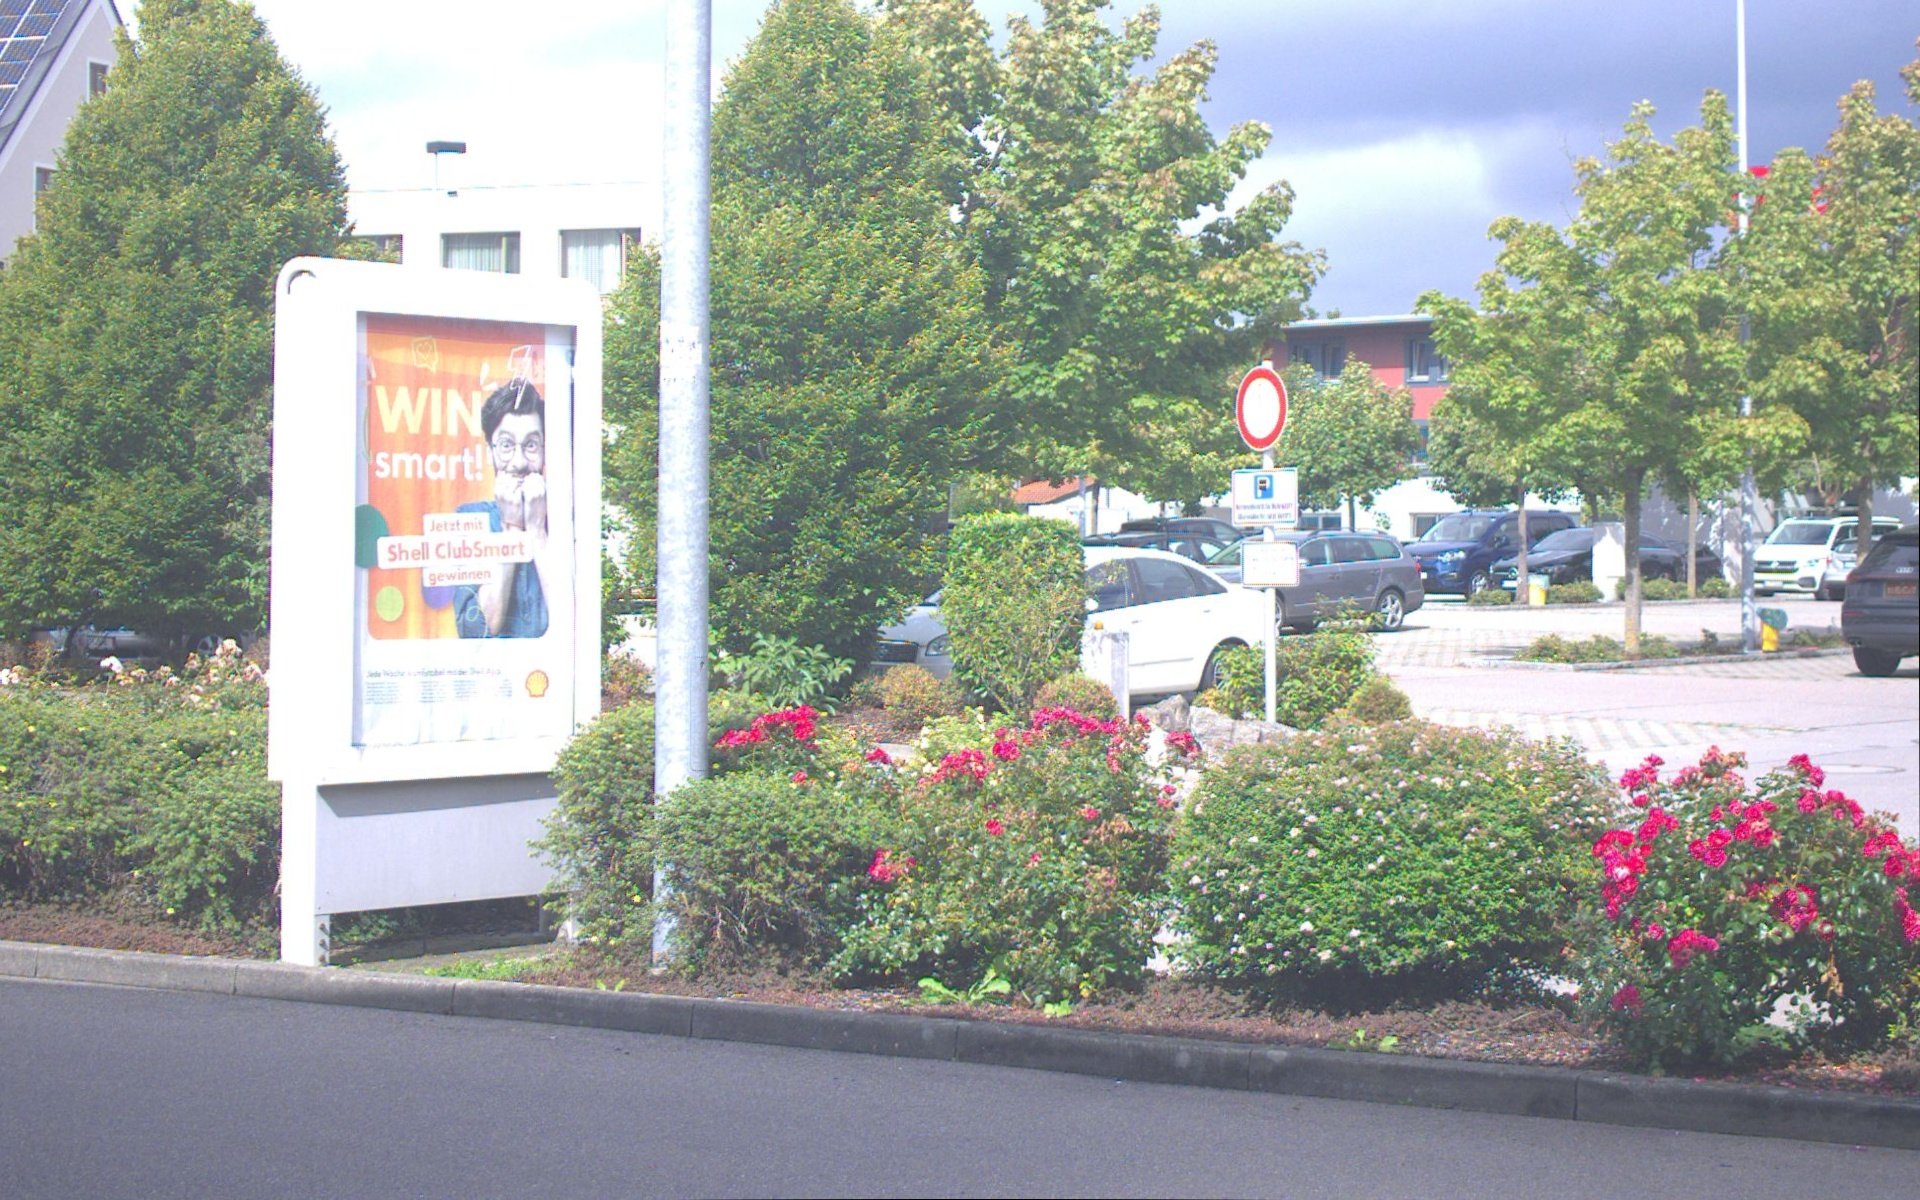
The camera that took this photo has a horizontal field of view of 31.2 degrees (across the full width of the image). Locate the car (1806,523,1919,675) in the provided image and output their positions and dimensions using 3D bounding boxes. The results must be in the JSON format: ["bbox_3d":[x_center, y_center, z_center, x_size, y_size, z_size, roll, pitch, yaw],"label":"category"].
[{"bbox_3d":[11.136,-0.012,36.745,4.491,1.543,1.885,0,1,-43],"label":"car"}]

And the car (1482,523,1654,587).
[{"bbox_3d":[11.520,-0.846,65.050,3.409,1.174,1.485,0,1,-44],"label":"car"}]

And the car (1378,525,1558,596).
[{"bbox_3d":[9.891,-0.764,66.798,3.379,1.316,1.747,0,1,-44],"label":"car"}]

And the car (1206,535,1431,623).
[{"bbox_3d":[5.206,-0.294,49.732,3.218,1.224,1.505,0,1,-44],"label":"car"}]

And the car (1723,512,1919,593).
[{"bbox_3d":[20.253,-1.095,80.656,4.864,1.827,2.184,0,1,-43],"label":"car"}]

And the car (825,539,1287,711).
[{"bbox_3d":[0.906,0.202,29.943,4.332,1.399,1.370,0,1,-44],"label":"car"}]
